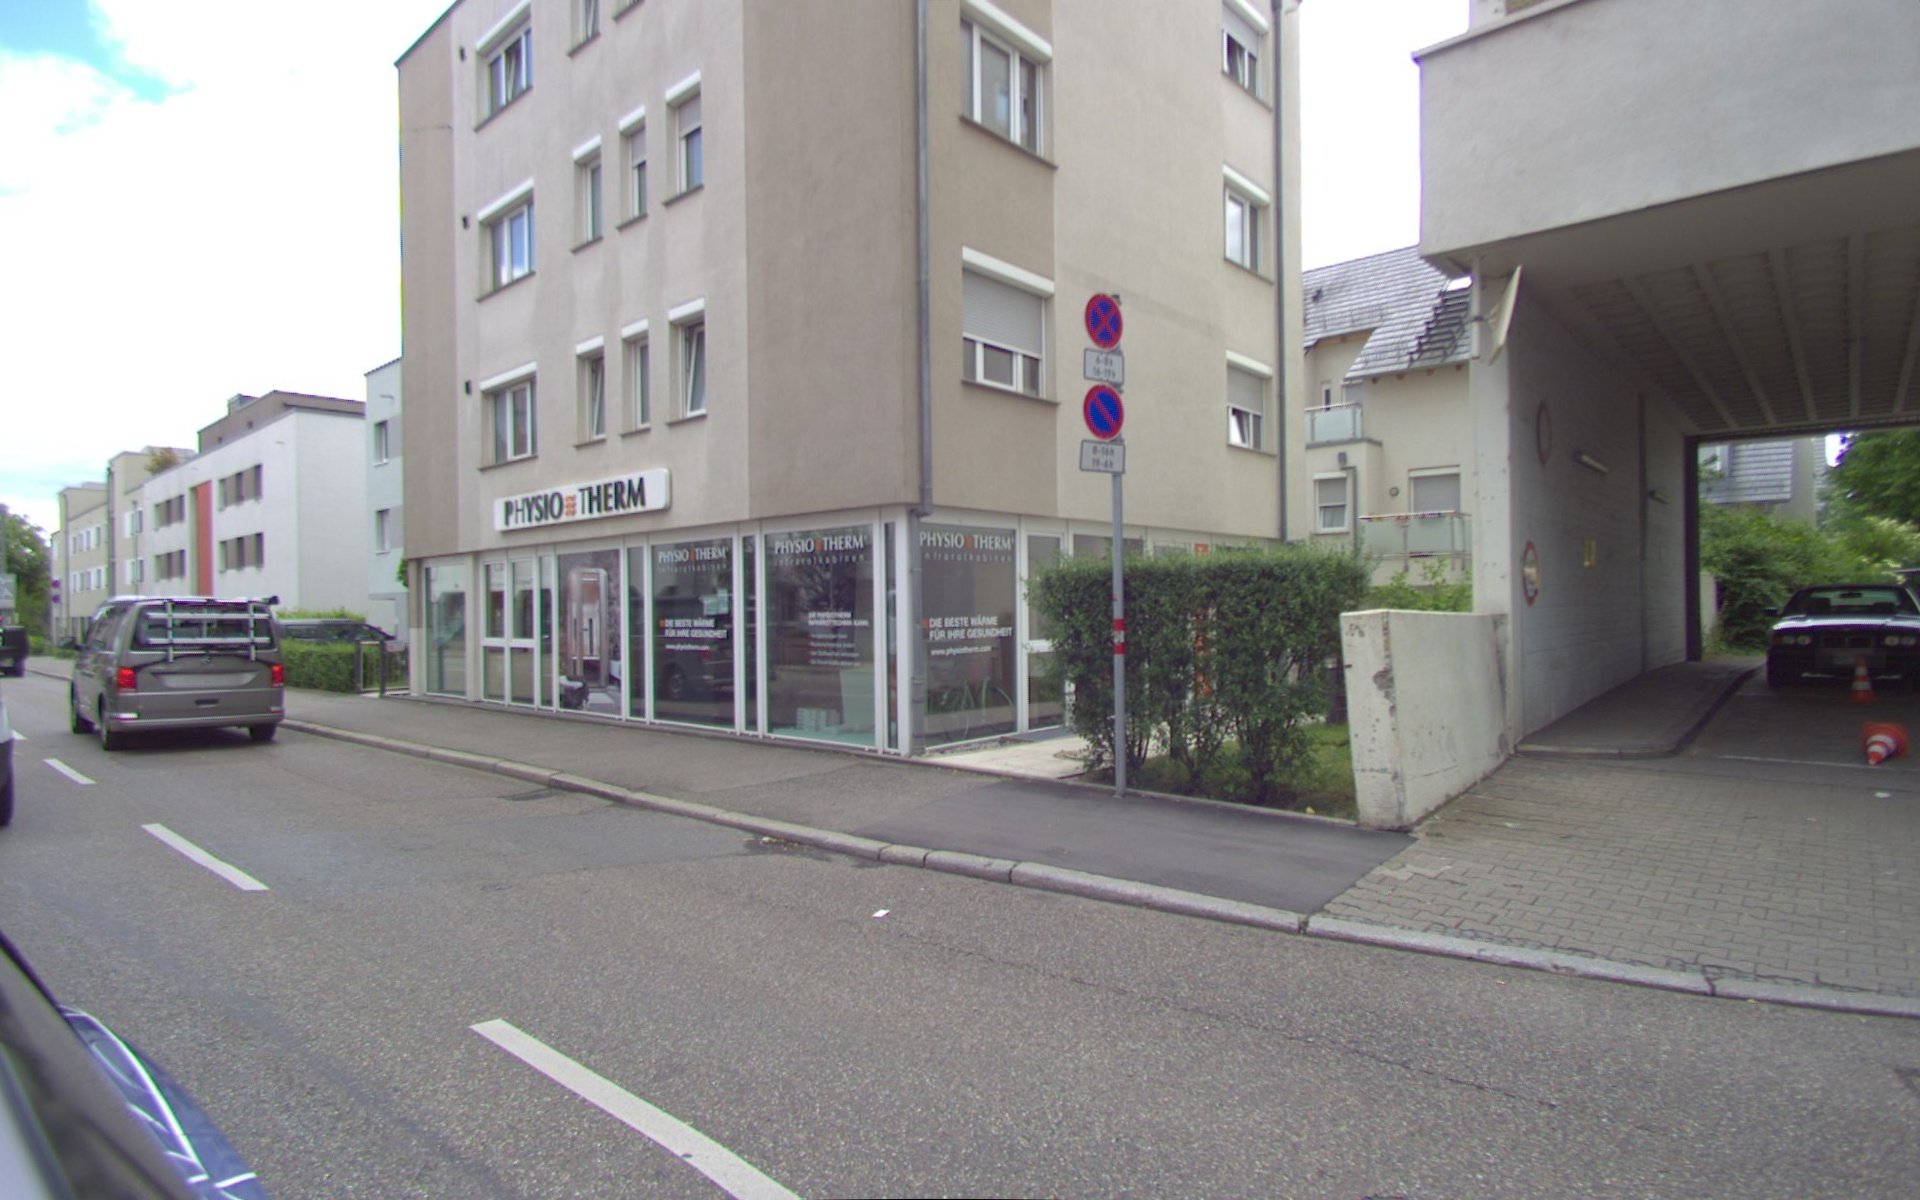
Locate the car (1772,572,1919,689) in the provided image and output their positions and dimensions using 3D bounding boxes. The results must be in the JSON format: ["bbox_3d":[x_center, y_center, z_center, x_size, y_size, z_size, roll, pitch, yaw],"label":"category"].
[{"bbox_3d":[12.046,0.336,13.502,1.624,1.333,4.392,-2,0,42],"label":"car"}]

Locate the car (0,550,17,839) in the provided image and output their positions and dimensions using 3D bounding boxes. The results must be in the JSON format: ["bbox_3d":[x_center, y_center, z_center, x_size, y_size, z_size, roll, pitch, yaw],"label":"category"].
[{"bbox_3d":[-9.193,0.725,8.045,5.084,2.013,1.940,-2,-1,41],"label":"car"}]

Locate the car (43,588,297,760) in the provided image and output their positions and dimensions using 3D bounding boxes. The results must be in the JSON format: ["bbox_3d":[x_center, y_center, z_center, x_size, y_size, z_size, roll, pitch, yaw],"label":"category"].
[{"bbox_3d":[-11.155,0.952,14.159,4.759,2.013,1.939,-2,-3,41],"label":"car"}]

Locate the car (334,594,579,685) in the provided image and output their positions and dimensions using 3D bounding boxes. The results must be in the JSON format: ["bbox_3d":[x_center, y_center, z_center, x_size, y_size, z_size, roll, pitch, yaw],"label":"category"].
[{"bbox_3d":[-12.204,0.883,24.808,1.967,2.013,5.014,-2,-1,44],"label":"car"}]
